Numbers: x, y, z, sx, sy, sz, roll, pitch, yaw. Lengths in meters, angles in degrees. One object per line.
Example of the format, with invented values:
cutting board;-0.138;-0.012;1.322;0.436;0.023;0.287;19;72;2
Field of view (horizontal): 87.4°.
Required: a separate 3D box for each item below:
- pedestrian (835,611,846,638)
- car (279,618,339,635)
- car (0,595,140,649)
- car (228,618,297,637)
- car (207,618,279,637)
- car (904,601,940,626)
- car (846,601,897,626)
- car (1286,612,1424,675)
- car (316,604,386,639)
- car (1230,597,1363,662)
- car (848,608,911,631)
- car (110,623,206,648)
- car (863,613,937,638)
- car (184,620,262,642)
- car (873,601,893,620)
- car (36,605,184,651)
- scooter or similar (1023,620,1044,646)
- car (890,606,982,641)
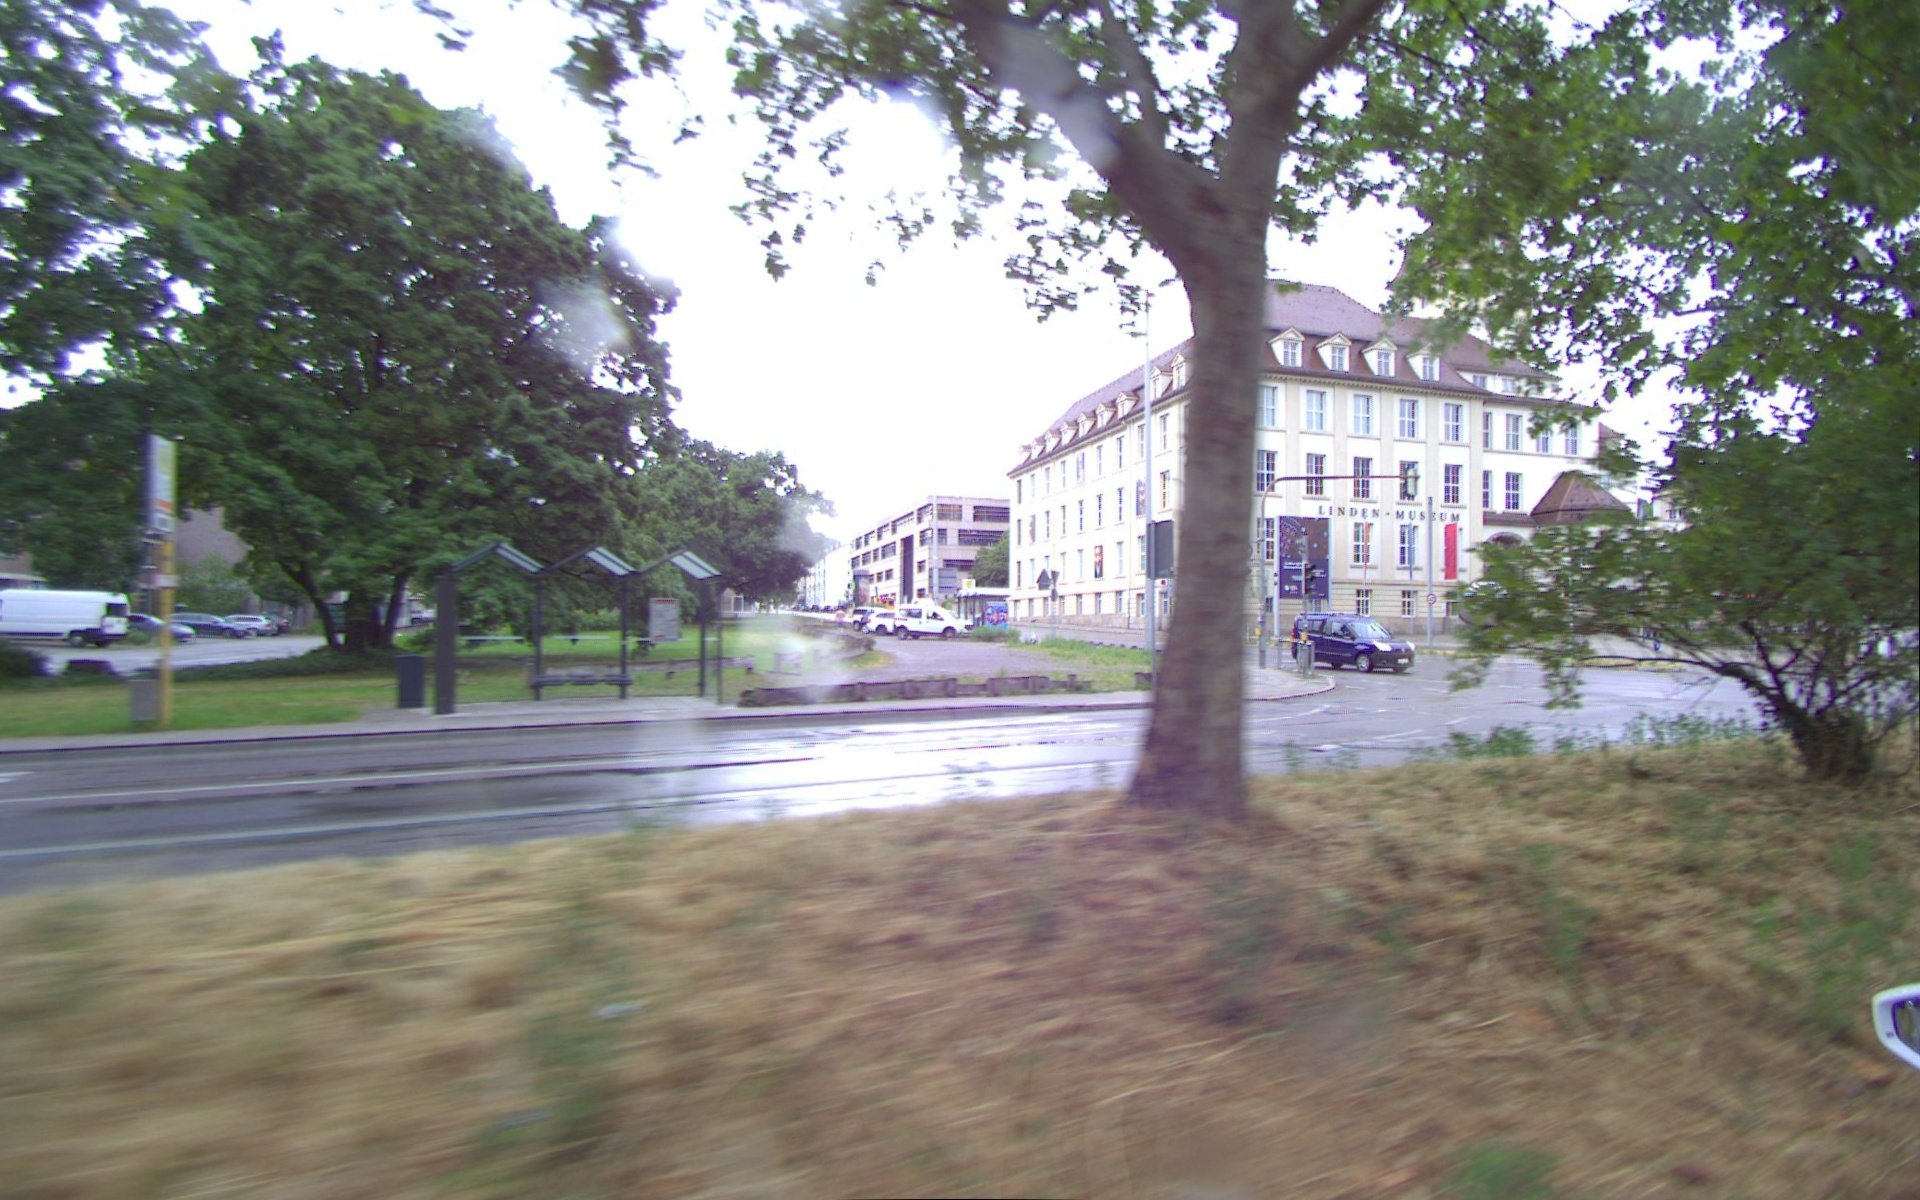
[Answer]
pedestrian;-7.151;1.471;60.241;0.557;1.548;0.670;2;0;-6
car;-49.633;2.004;76.674;3.498;1.158;1.587;3;-1;-17
car;-41.130;1.003;45.731;5.374;2.242;2.110;2;-1;-13
car;-47.991;1.917;69.145;3.498;1.158;1.587;3;-1;-17
car;-47.373;1.828;66.430;3.498;1.158;1.587;2;-1;-17
car;-3.756;1.293;98.336;1.968;2.344;5.905;2;-1;-17
car;-6.429;0.988;72.670;1.837;1.765;4.031;1;-2;-38
car;13.039;1.386;33.467;1.773;1.933;4.283;0;-1;-24
car;-53.670;1.871;88.756;3.539;2.854;6.445;2;-1;-15
car;13.825;1.165;41.794;2.033;2.527;6.013;0;0;-19
car;-5.514;1.339;68.721;4.006;1.461;1.849;1;-1;33
car;-42.065;1.865;52.771;3.498;1.158;1.684;3;-1;-17
car;-3.572;1.525;59.751;3.994;1.461;1.855;0;-2;17
car;-45.560;1.908;62.179;3.498;1.158;1.587;3;-1;-17
car;-11.246;1.454;146.419;1.968;2.652;3.985;2;-1;-17
car;-41.887;1.370;49.675;4.996;2.049;2.280;2;-1;-16
scooter or similar;3.379;1.514;46.108;0.541;1.182;1.253;2;-1;21
car;-1.250;1.207;52.233;4.421;1.791;1.832;0;-2;25
